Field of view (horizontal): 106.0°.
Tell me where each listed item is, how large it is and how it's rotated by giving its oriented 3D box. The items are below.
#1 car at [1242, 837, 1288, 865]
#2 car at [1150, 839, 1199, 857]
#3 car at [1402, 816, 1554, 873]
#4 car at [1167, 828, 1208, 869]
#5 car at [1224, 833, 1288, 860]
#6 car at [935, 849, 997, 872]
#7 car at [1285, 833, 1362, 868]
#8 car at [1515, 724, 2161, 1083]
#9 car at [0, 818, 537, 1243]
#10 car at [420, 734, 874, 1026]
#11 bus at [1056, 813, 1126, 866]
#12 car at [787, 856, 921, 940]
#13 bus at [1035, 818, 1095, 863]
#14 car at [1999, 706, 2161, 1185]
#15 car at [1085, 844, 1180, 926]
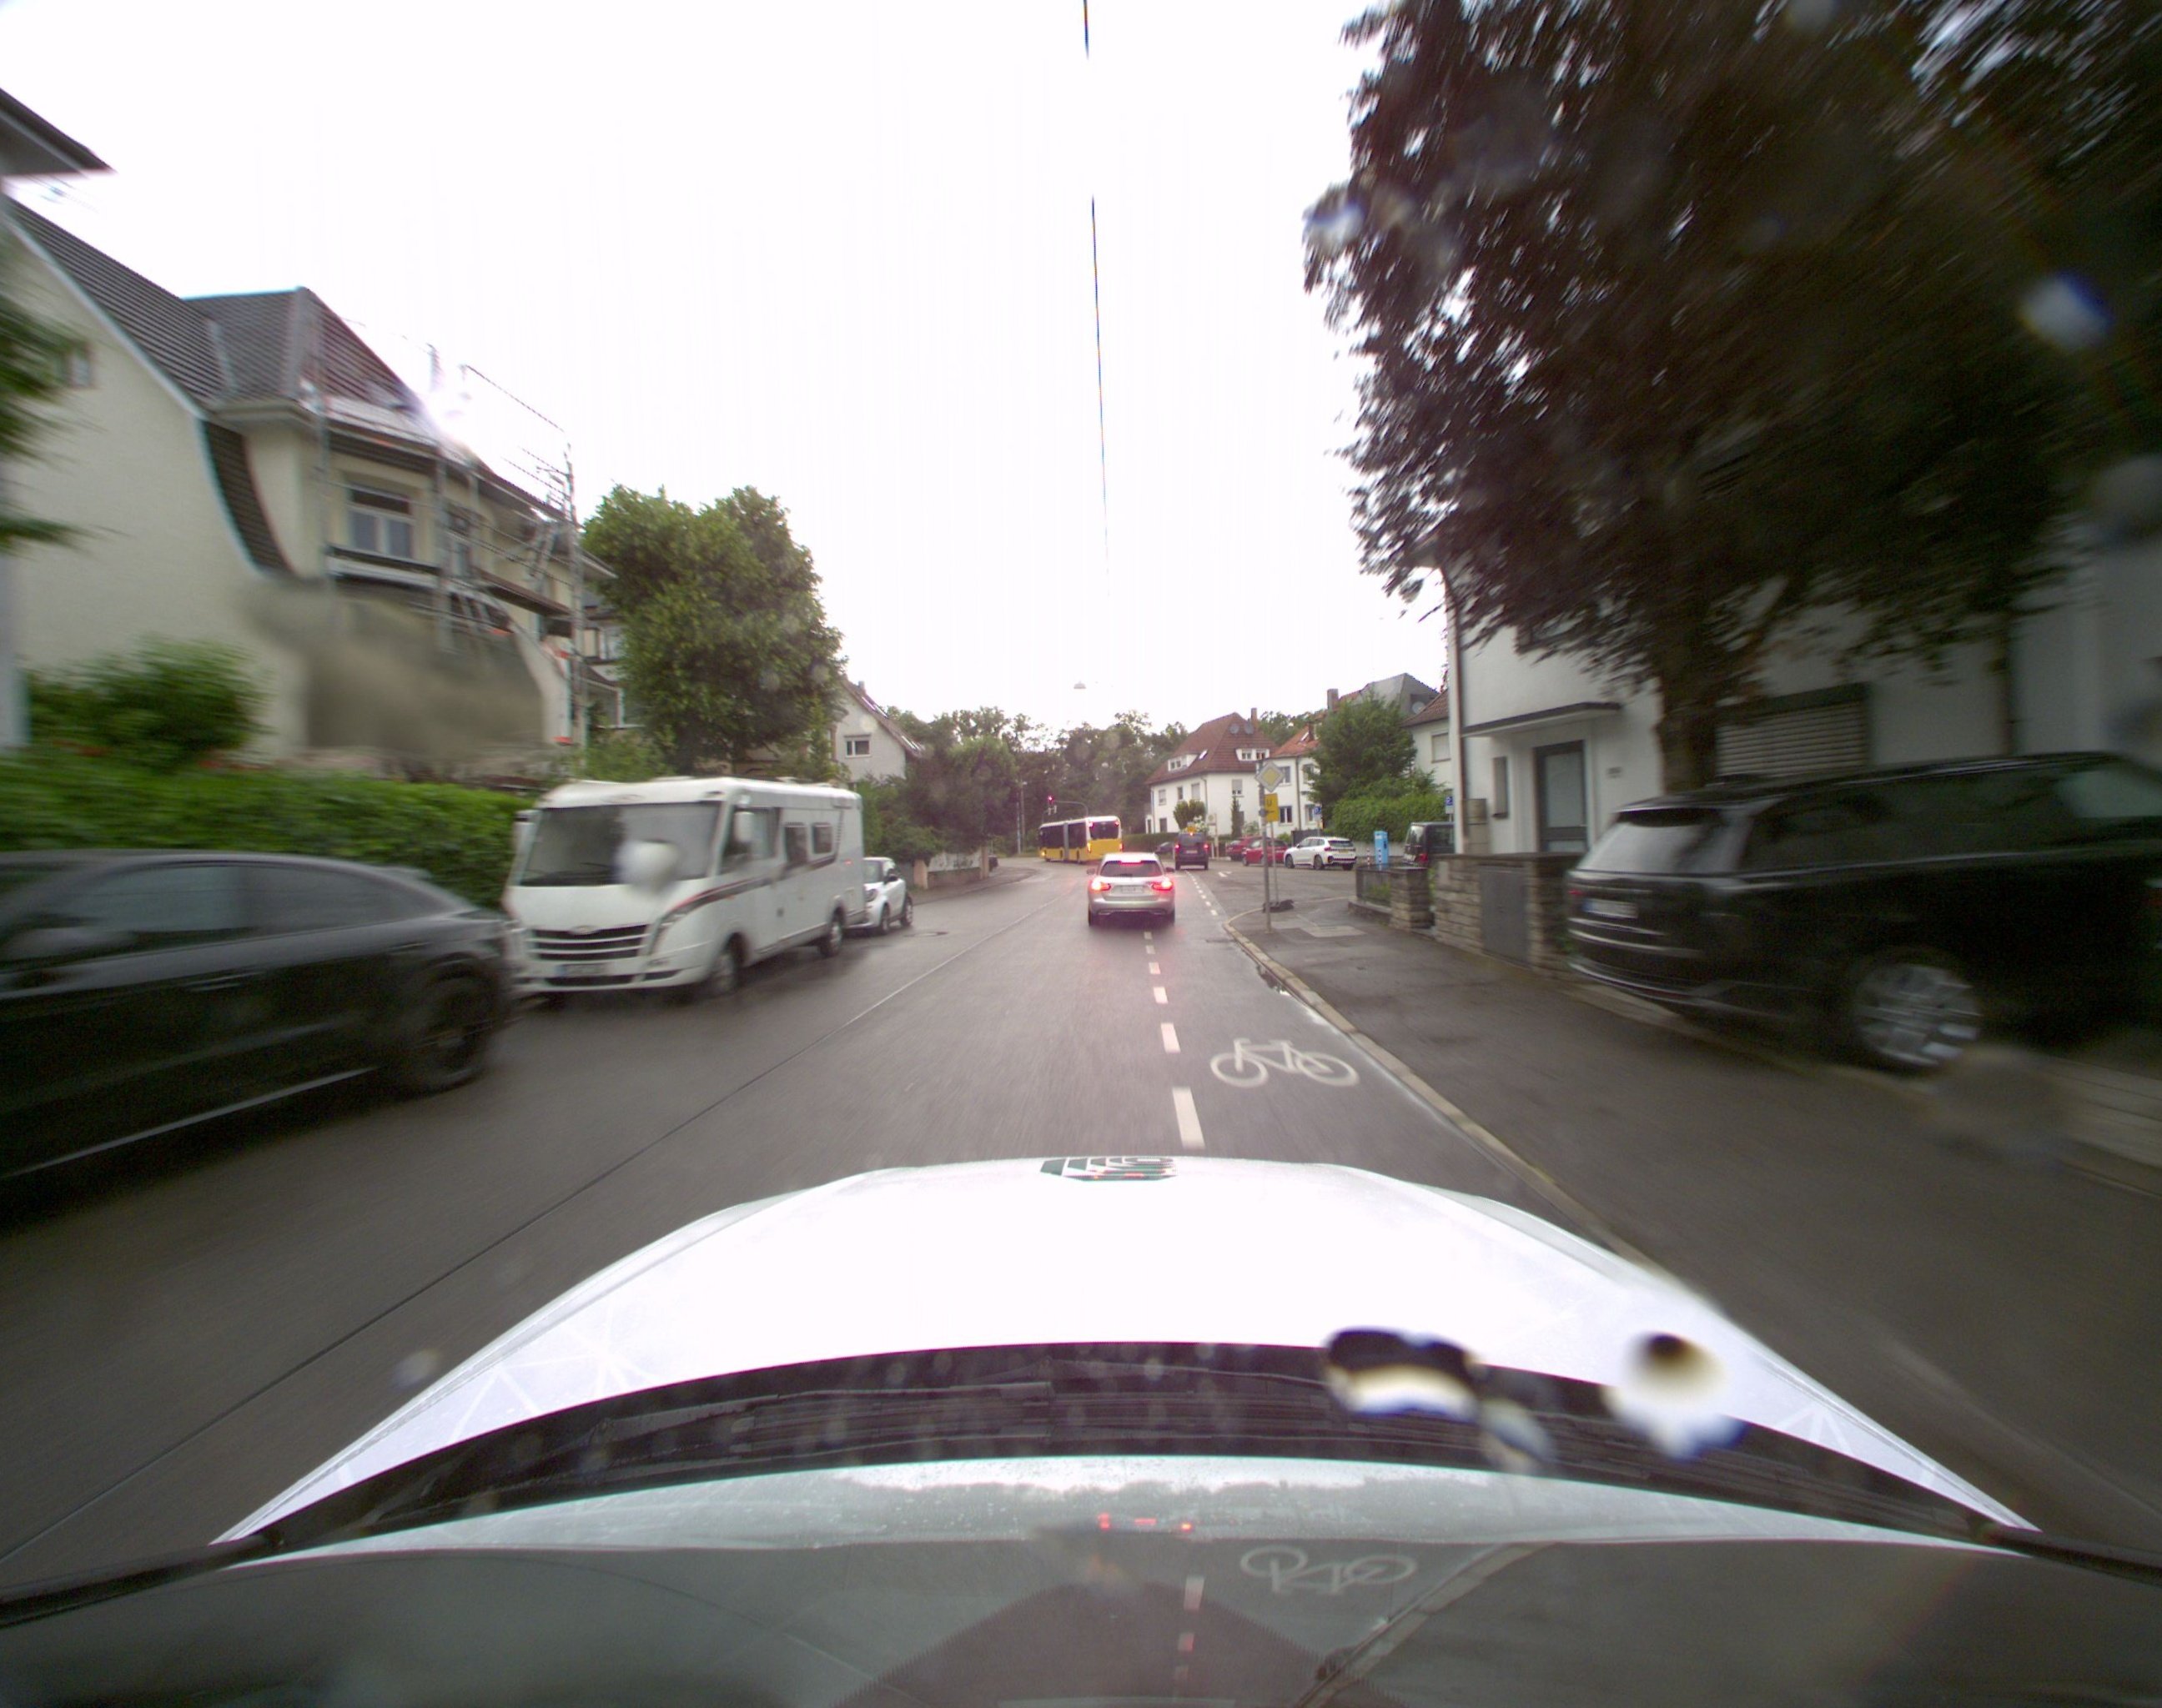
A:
[{"bbox_3d":[10.281,-0.192,45.594,1.208,1.451,3.006,-1,2,-16],"label":"car"},{"bbox_3d":[8.299,-0.536,72.347,3.995,1.530,1.750,-1,2,-16],"label":"car"},{"bbox_3d":[11.103,-0.279,23.020,3.564,1.509,1.737,0,2,12],"label":"car"},{"bbox_3d":[5.279,-0.226,40.788,1.834,1.904,4.004,-1,-1,4],"label":"car"},{"bbox_3d":[12.096,-0.528,56.313,3.983,1.793,1.755,-1,2,-8],"label":"car"},{"bbox_3d":[-7.531,0.418,53.612,3.983,1.420,1.883,-1,2,-7],"label":"car"},{"bbox_3d":[11.948,-0.201,40.373,1.811,1.608,4.043,-1,2,-16],"label":"car"},{"bbox_3d":[5.952,0.208,5.727,4.648,1.874,1.999,-4,0,-1],"label":"car"},{"bbox_3d":[-5.268,0.691,3.885,1.985,1.688,4.681,0,2,3],"label":"car"},{"bbox_3d":[-4.977,0.188,11.043,2.381,2.771,6.536,-1,1,2],"label":"car"},{"bbox_3d":[0.591,-1.172,61.799,2.932,3.650,10.123,-1,2,-13],"label":"bus"},{"bbox_3d":[-4.565,0.832,16.868,1.706,1.447,3.258,0,2,3],"label":"car"},{"bbox_3d":[-1.515,-1.240,70.464,2.933,3.650,10.253,-1,2,-14],"label":"bus"},{"bbox_3d":[6.376,0.183,2.580,4.648,1.812,1.999,-4,0,-1],"label":"car"},{"bbox_3d":[1.032,0.595,17.672,1.810,1.556,4.001,0,0,1],"label":"car"}]
